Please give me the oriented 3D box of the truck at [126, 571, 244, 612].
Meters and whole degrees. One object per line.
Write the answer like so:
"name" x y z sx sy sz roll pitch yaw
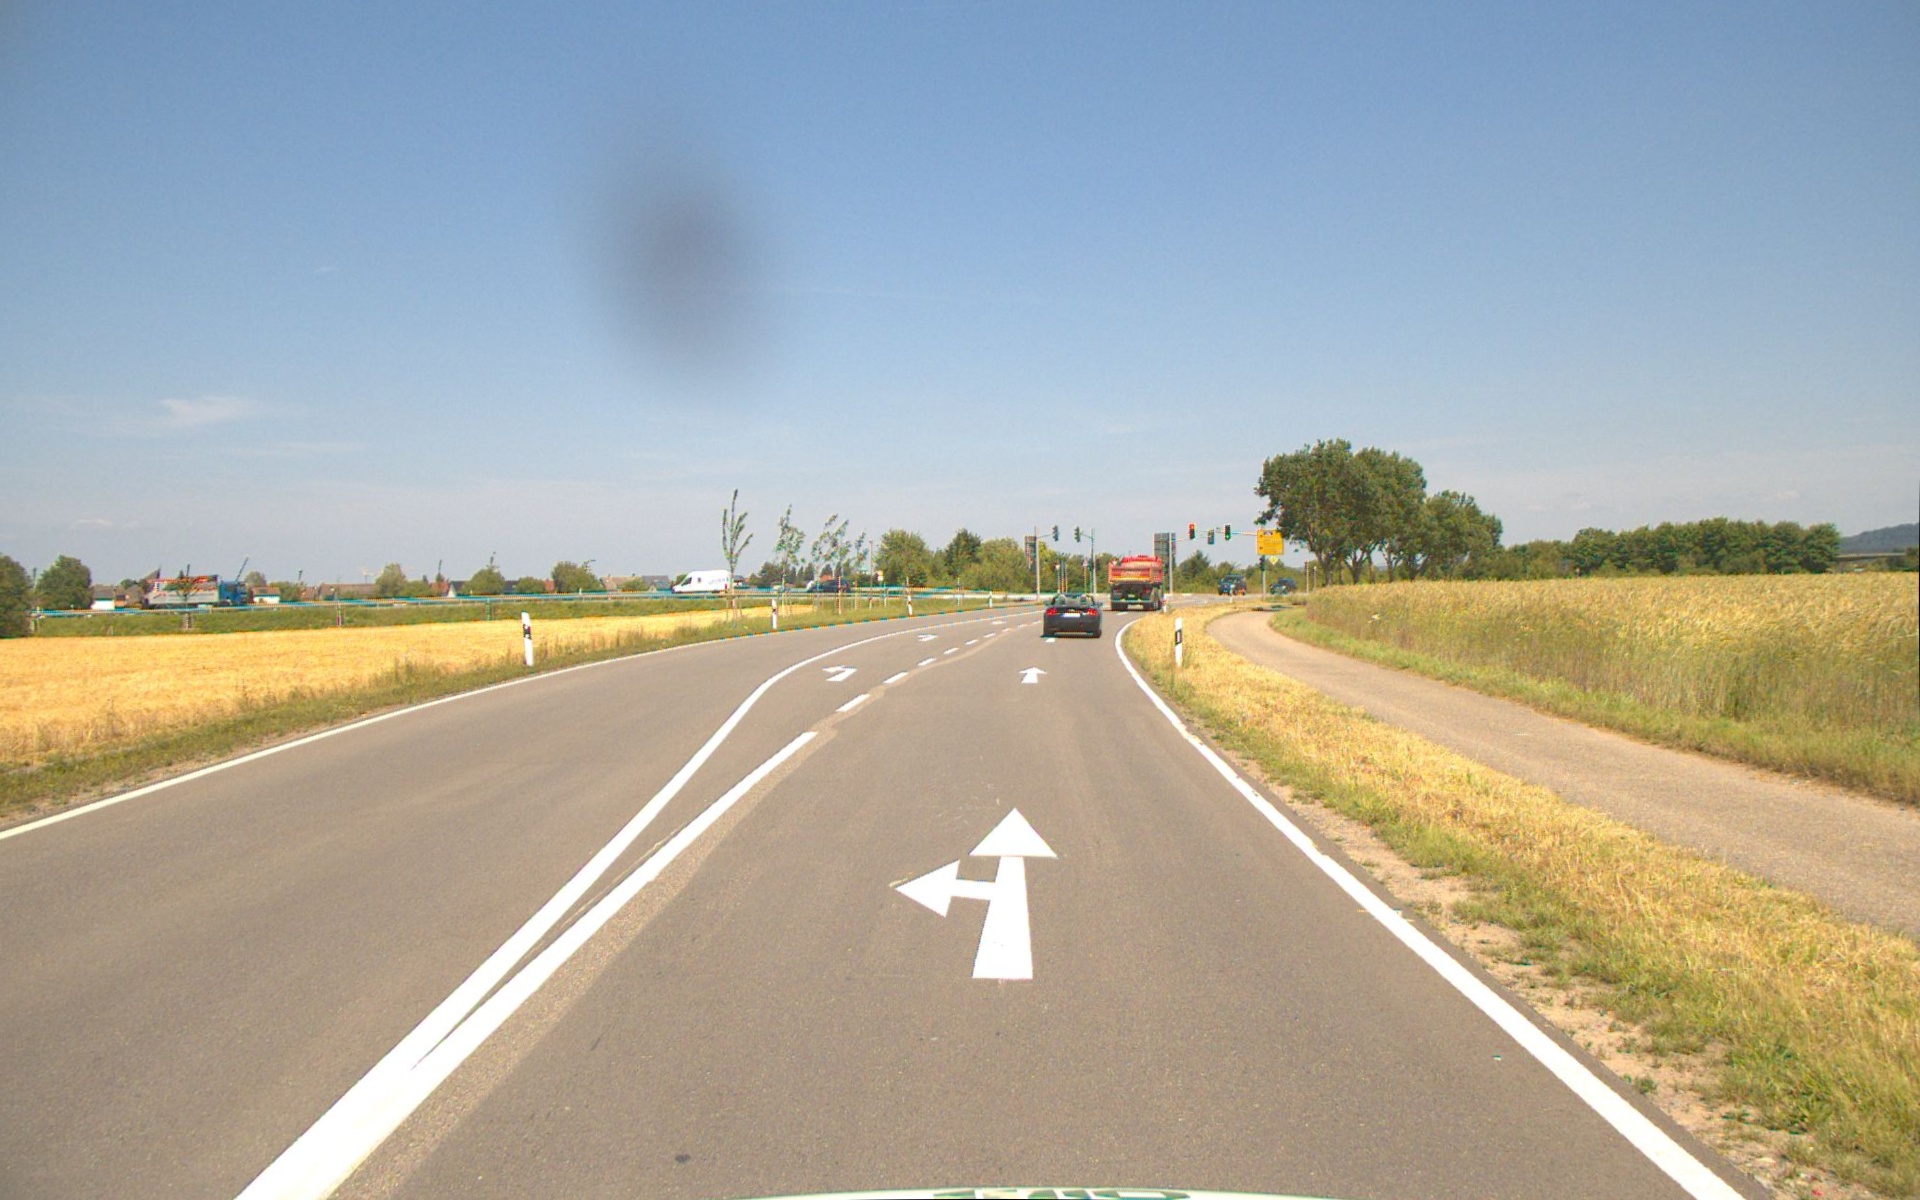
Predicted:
"truck" -74.541 -0.853 159.205 9.882 3.859 2.624 0 1 -5

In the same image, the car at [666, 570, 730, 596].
"car" -25.748 -1.682 162.864 5.791 2.464 2.250 0 1 10

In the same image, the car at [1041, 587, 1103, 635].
"car" 3.454 0.348 50.587 1.710 1.400 3.681 1 0 7

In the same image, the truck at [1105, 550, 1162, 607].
"truck" 10.085 -1.186 95.537 2.656 3.106 8.171 0 0 10

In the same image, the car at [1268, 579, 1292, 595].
"car" 36.088 -1.475 186.544 1.891 1.770 4.890 0 1 21
